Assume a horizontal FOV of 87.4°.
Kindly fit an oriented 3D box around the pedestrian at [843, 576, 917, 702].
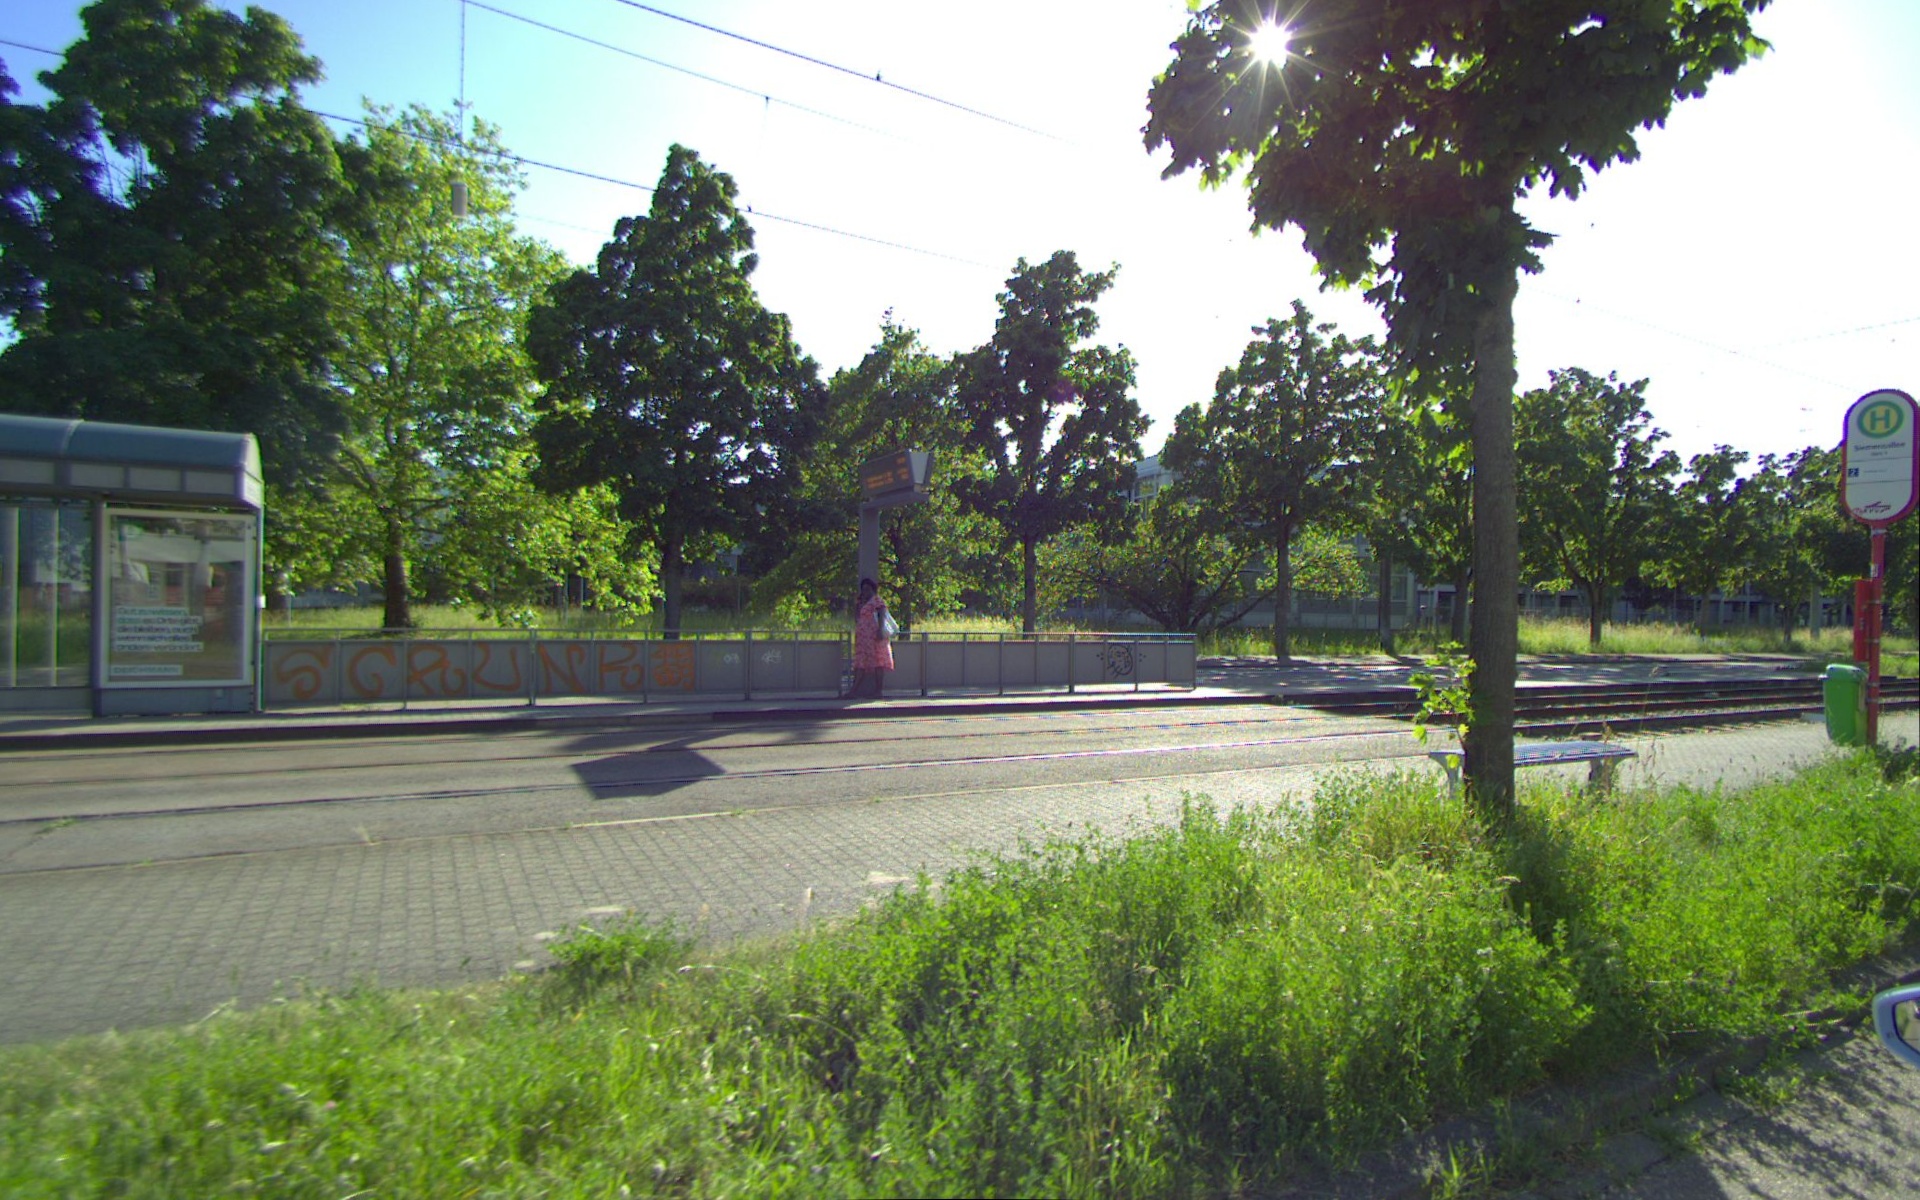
[{"bbox_3d":[-1.168,0.553,14.620,0.773,1.775,0.780,1,0,-31],"label":"pedestrian"}]
